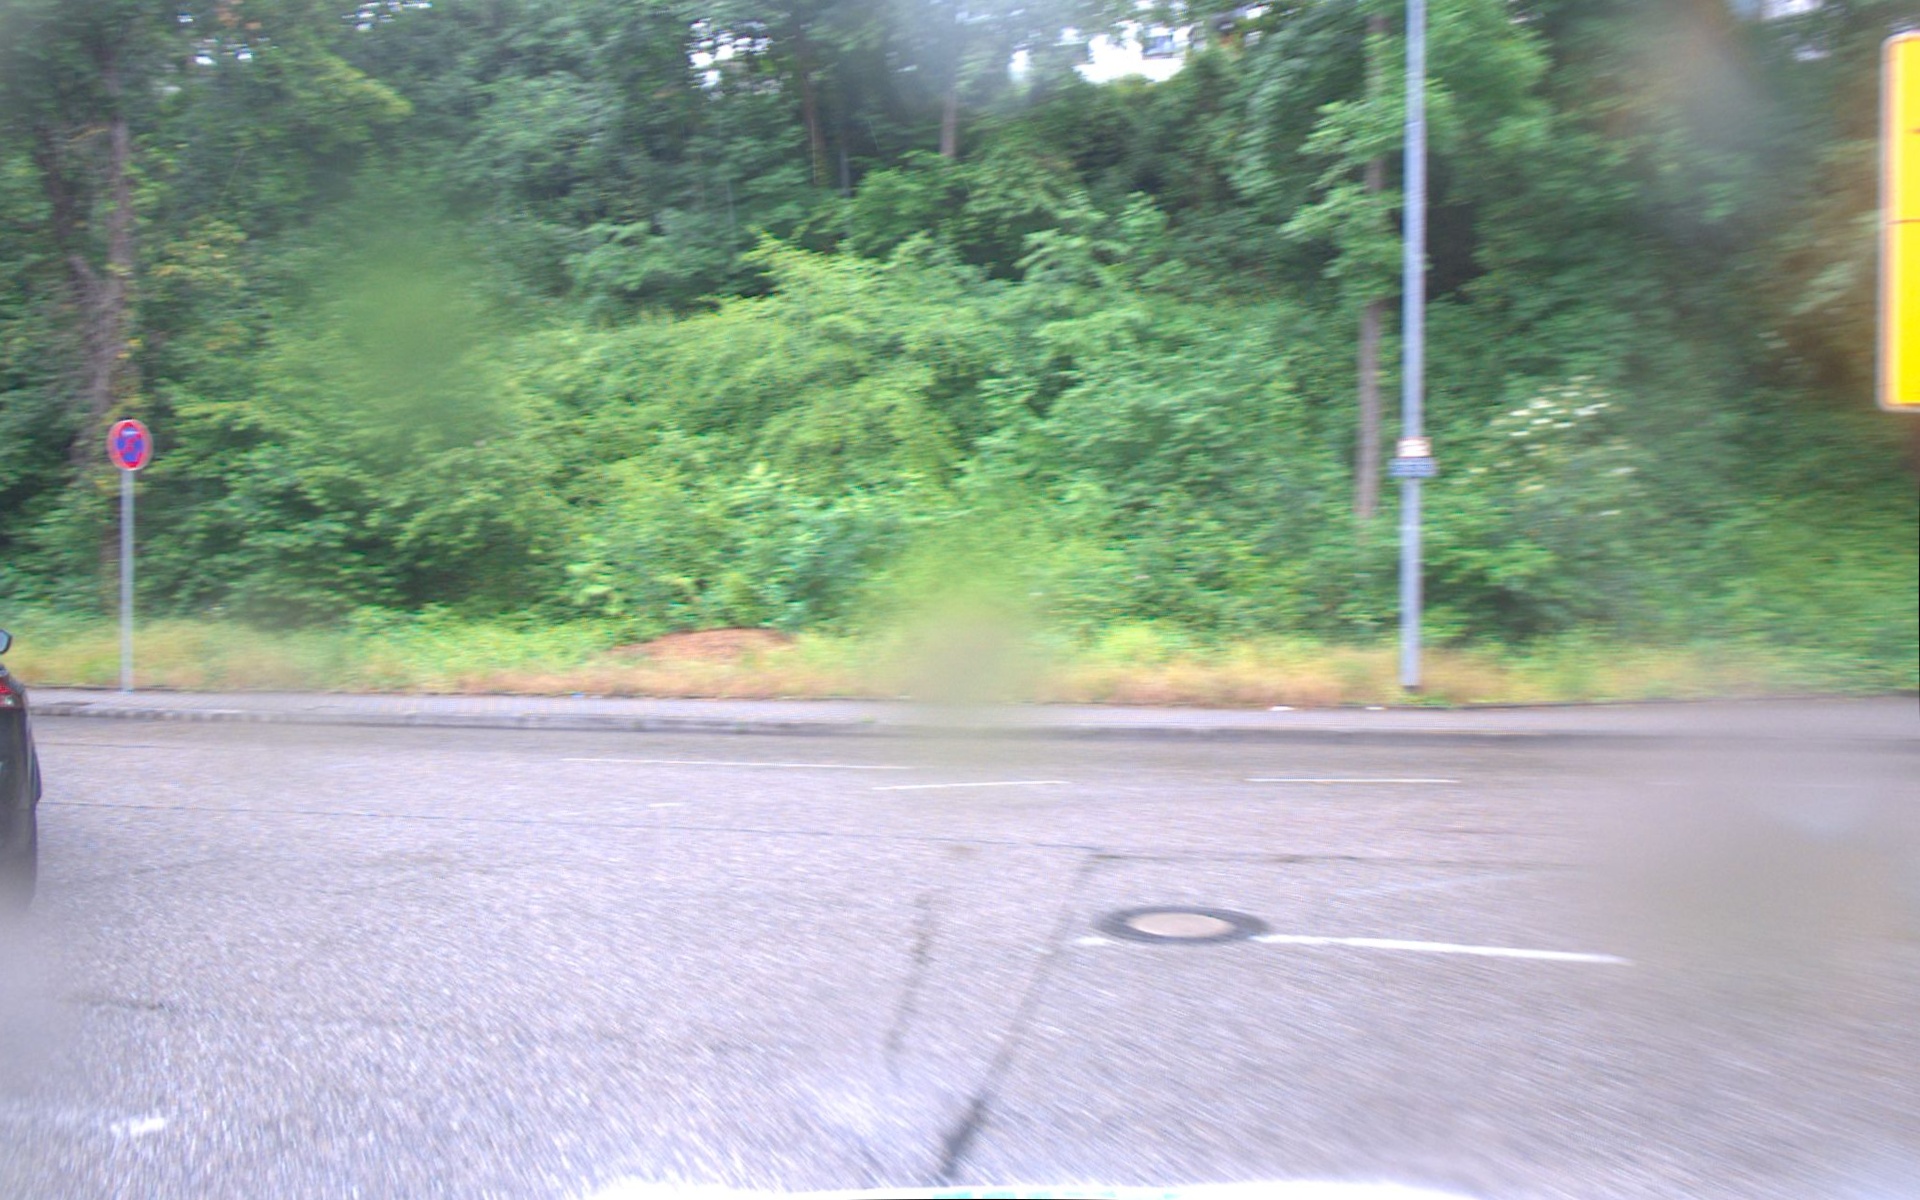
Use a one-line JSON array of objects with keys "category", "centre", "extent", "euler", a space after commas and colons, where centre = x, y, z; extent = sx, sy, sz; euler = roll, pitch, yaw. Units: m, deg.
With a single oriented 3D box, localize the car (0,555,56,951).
[{"category": "car", "centre": [-5.708, 0.632, 7.918], "extent": [1.799, 1.631, 3.945], "euler": [-1, 1, -38]}]
